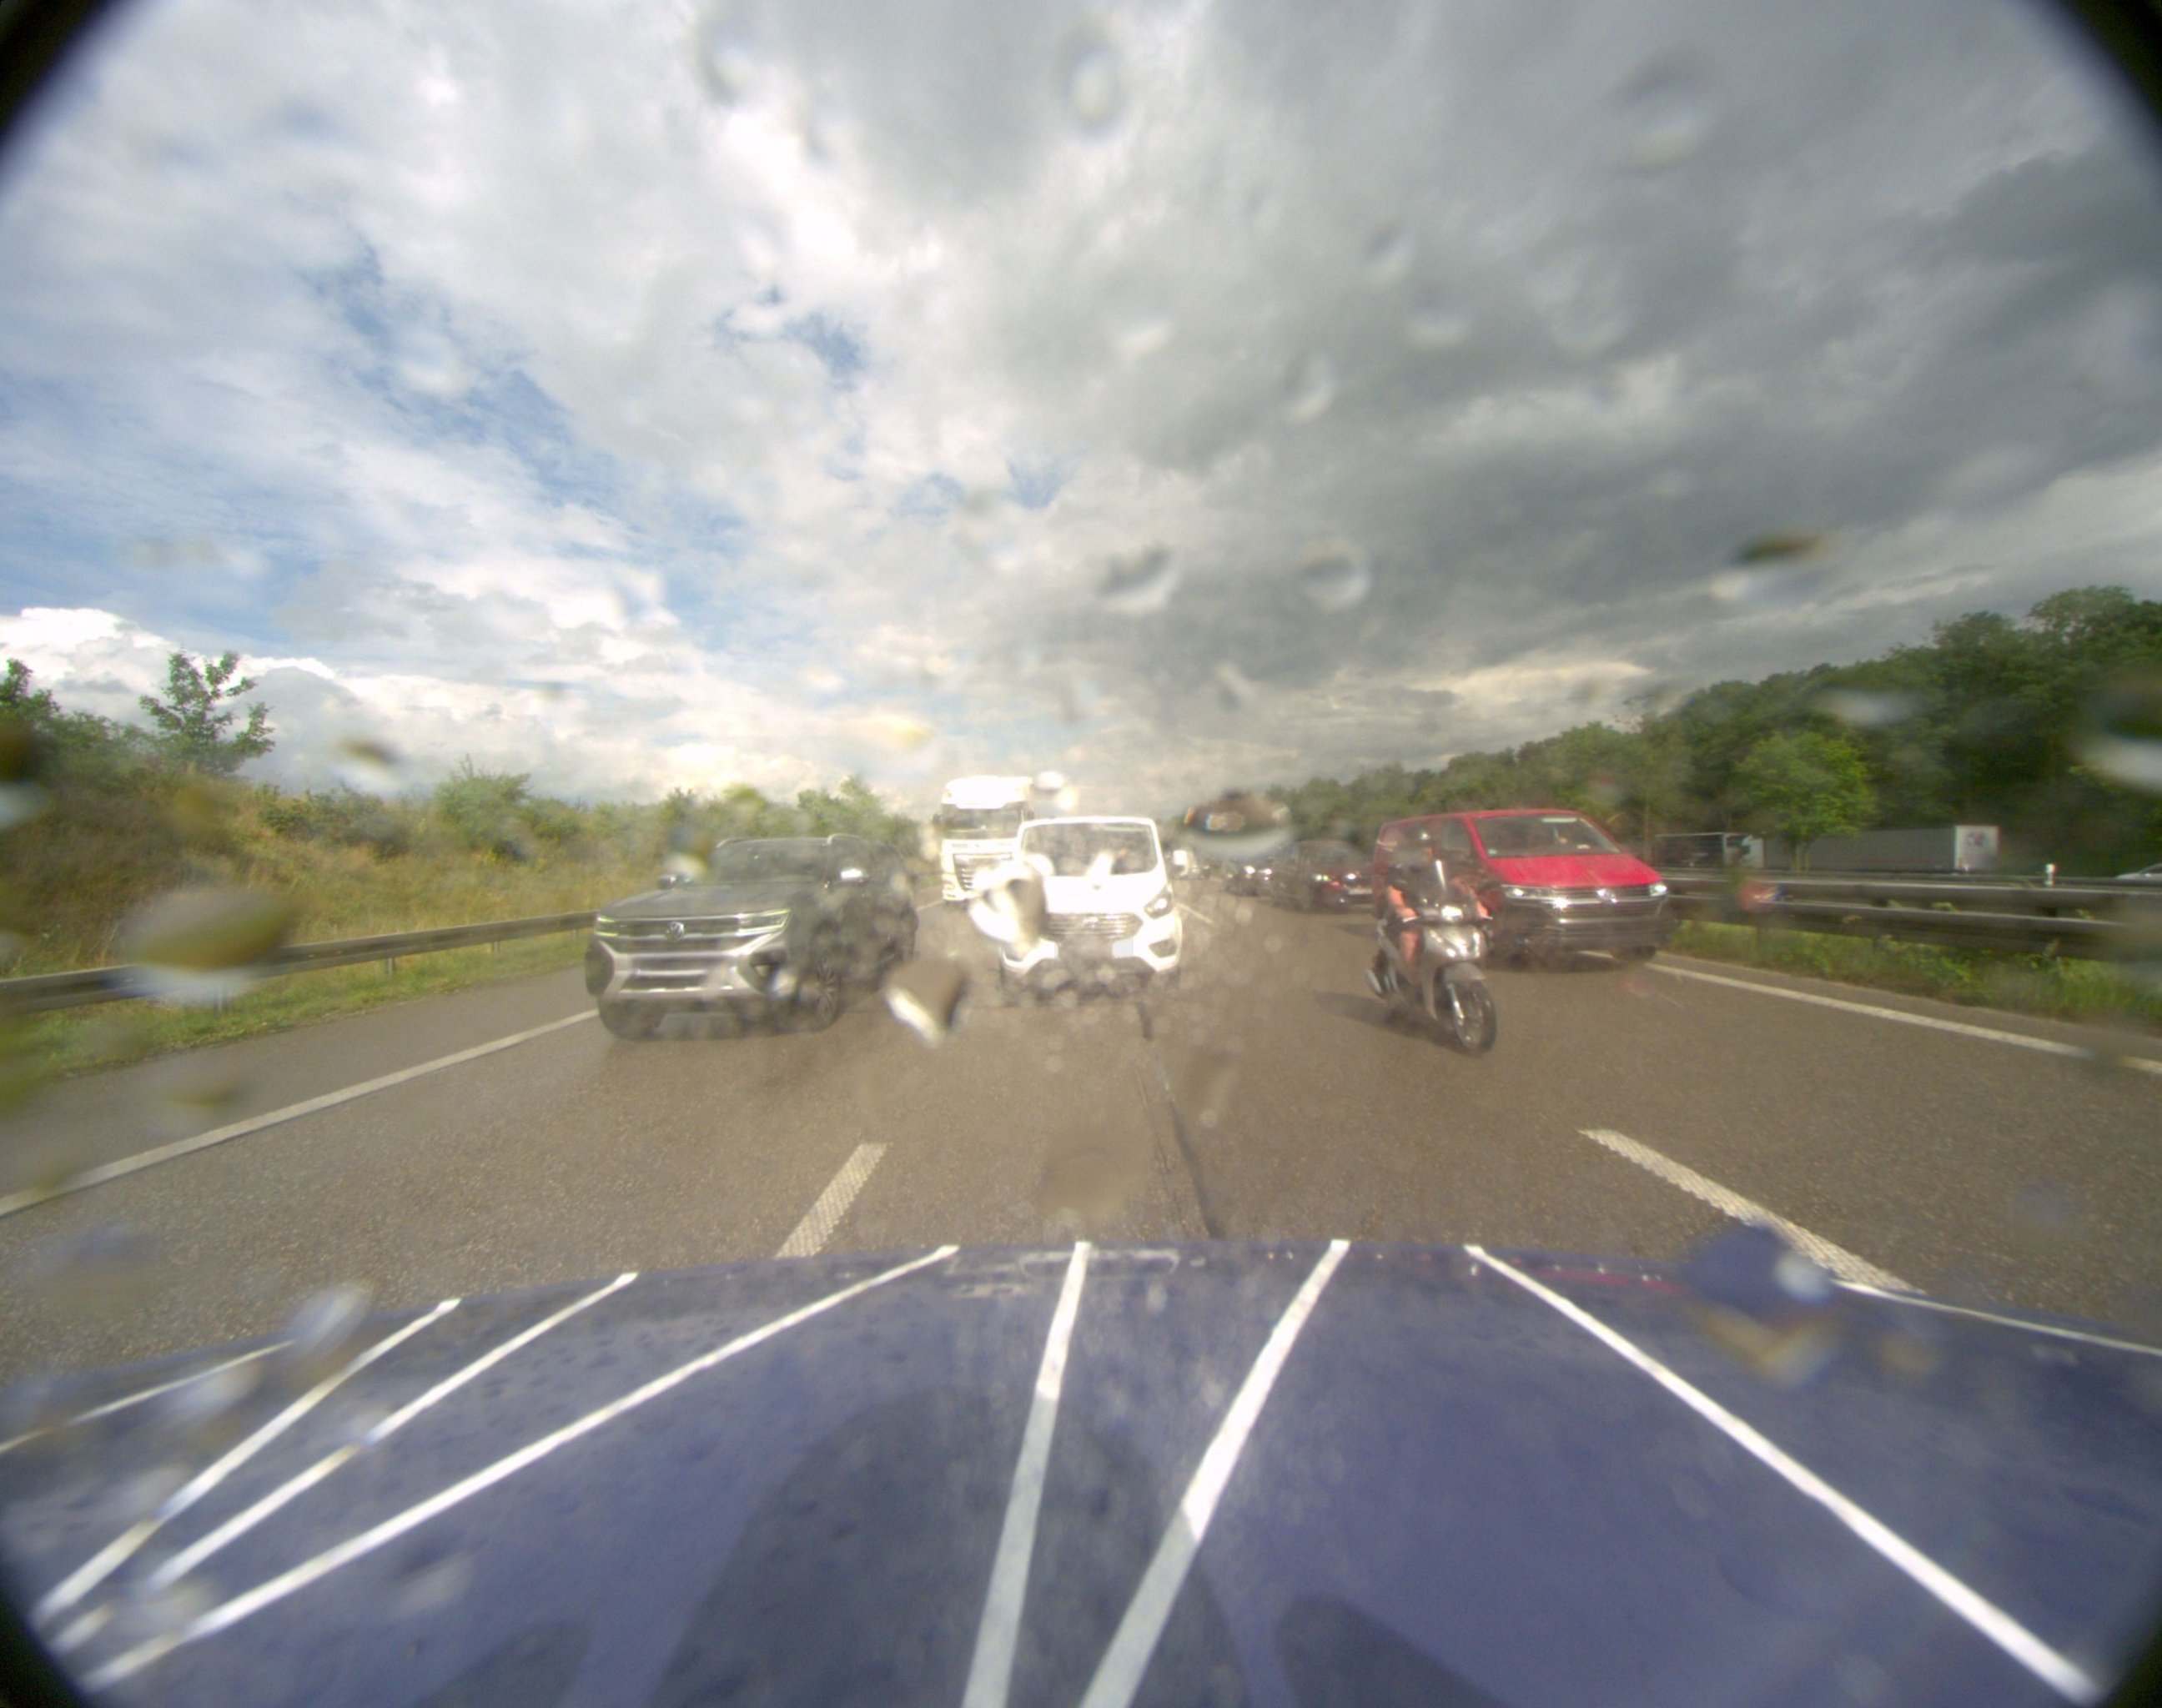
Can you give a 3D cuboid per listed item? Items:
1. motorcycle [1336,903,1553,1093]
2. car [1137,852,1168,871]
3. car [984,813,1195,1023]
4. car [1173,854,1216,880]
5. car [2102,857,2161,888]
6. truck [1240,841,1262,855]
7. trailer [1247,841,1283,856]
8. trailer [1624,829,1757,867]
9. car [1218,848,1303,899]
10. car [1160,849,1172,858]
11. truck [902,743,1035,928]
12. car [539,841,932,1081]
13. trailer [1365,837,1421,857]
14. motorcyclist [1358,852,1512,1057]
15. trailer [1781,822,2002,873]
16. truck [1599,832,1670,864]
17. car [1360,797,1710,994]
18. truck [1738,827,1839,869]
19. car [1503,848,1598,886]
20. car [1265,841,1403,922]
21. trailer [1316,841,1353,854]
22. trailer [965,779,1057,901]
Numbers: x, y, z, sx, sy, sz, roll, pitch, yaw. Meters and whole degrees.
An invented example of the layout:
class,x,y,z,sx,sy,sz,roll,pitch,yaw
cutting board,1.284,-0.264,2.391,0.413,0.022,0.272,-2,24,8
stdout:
class,x,y,z,sx,sy,sz,roll,pitch,yaw
motorcycle,2.727,1.011,5.991,0.677,1.080,1.981,-2,0,-2
car,5.219,0.540,55.778,1.888,1.228,4.506,-2,0,0
car,0.116,0.616,9.966,1.985,1.973,5.168,-2,0,1
car,6.038,0.674,40.709,1.675,1.228,4.000,-2,0,0
car,54.935,0.923,38.217,1.899,1.494,4.001,0,0,5
truck,42.344,-1.442,189.587,2.700,3.462,6.332,0,0,-13
trailer,44.007,-1.399,182.574,2.707,3.492,13.404,0,1,-13
trailer,57.188,-0.583,72.007,2.611,3.253,12.647,0,1,1
car,5.909,0.588,25.521,1.895,1.558,4.053,-2,1,1
car,18.555,-0.049,166.237,1.999,2.002,3.998,0,0,-4
truck,-2.700,-0.409,19.786,2.460,4.080,5.332,-2,0,1
car,-3.148,0.801,8.440,1.831,1.793,5.305,-1,0,1
trailer,53.856,-1.234,131.815,3.085,3.253,13.401,0,1,-6
motorcyclist,2.715,0.717,5.932,0.672,1.434,1.019,-2,1,-2
trailer,56.301,-0.424,53.614,3.026,3.174,12.175,0,0,3
truck,57.246,-0.643,78.827,2.582,3.232,6.535,0,1,1
car,5.578,0.424,10.250,1.895,1.973,4.750,-2,0,1
truck,56.766,-0.472,61.158,3.049,3.165,5.597,0,1,3
car,22.693,0.602,36.979,1.871,1.735,4.502,0,0,1
car,5.867,0.561,18.213,1.895,1.660,4.294,-2,1,1
trailer,50.621,-1.275,151.975,2.537,2.559,9.869,-2,1,-10
trailer,-2.594,-0.541,32.136,2.451,4.095,12.215,-2,1,1
